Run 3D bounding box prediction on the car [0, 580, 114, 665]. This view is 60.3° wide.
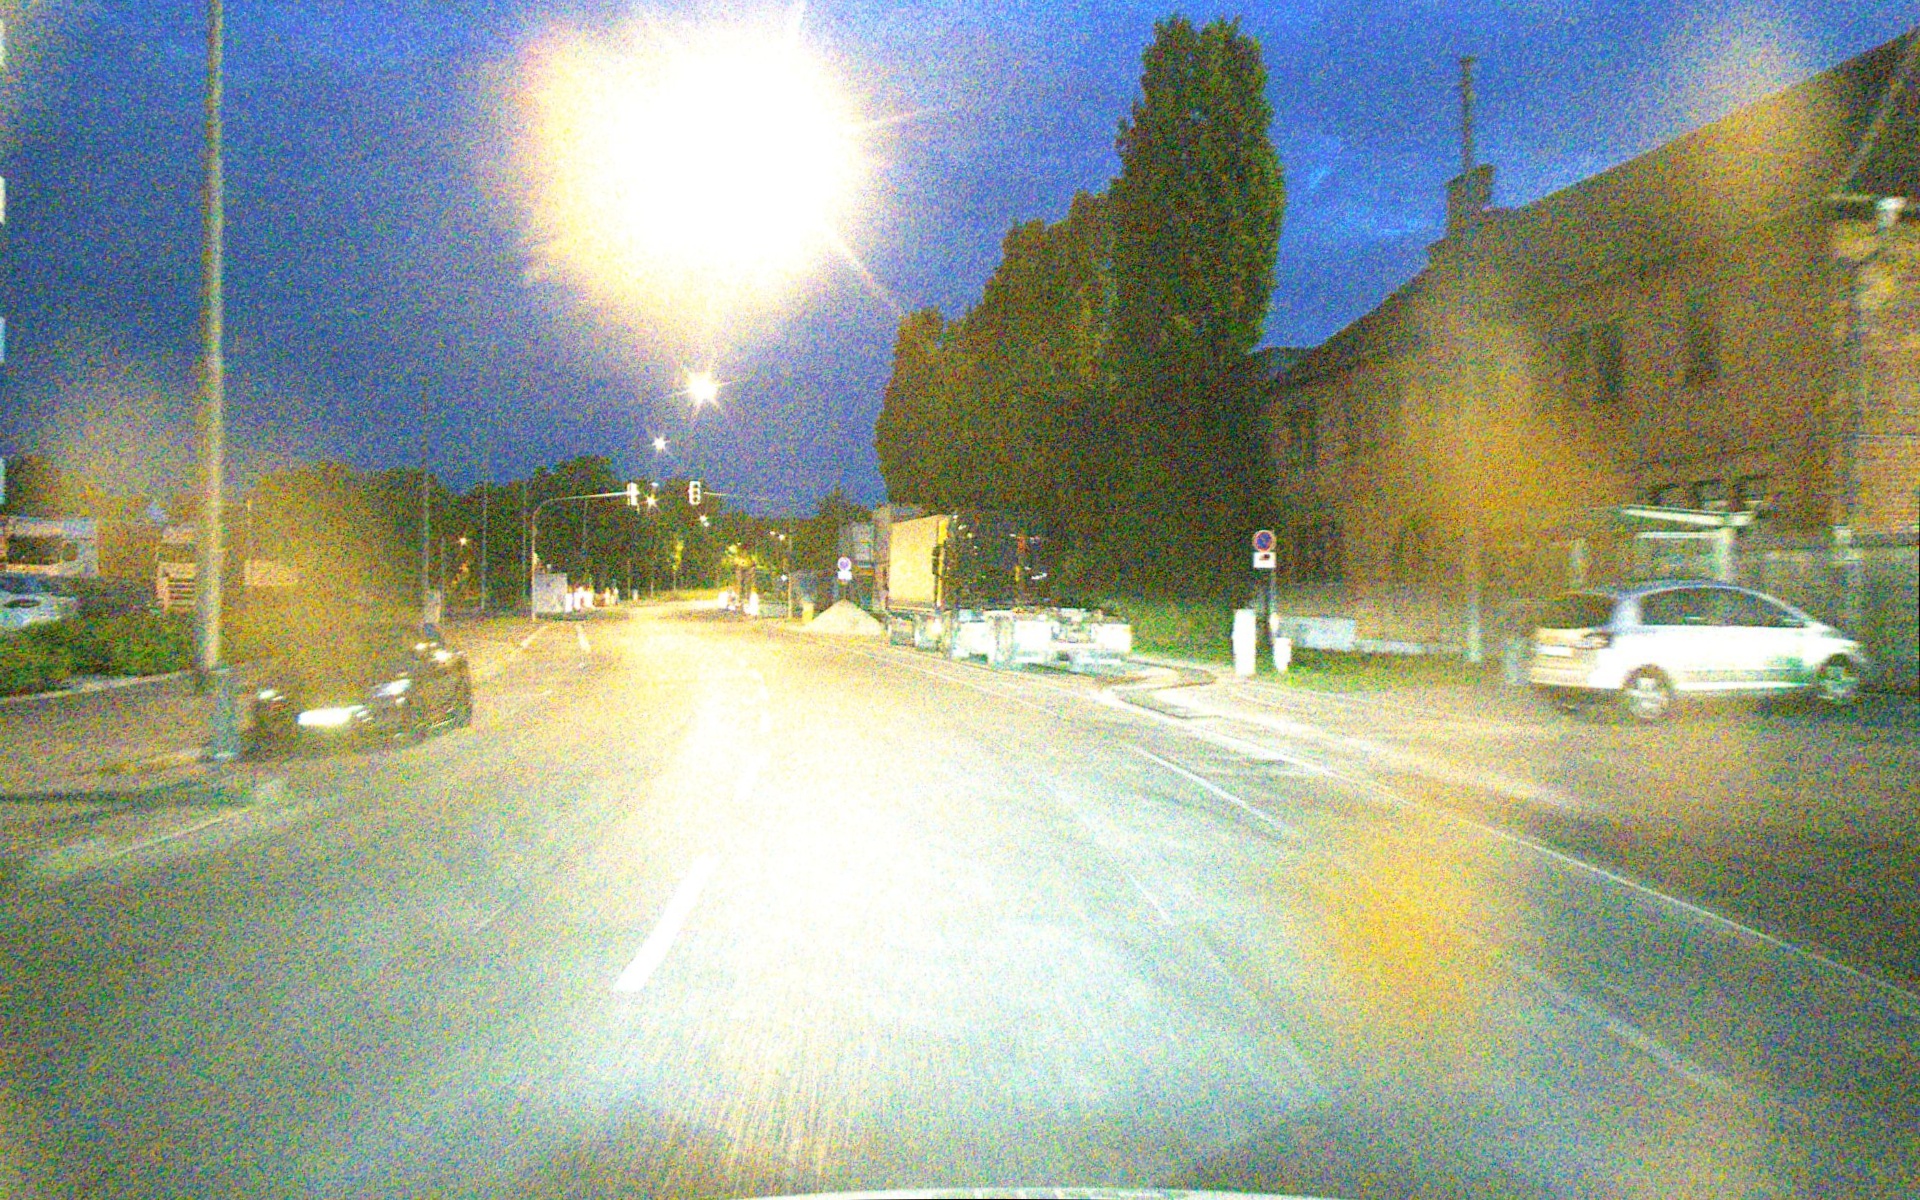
[{"bbox_3d":[-18.983,0.428,32.200,4.054,1.607,1.838,0,0,-8],"label":"car"}]

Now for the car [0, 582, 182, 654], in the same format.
[{"bbox_3d":[-19.099,0.365,34.904,4.361,1.478,2.059,0,0,-5],"label":"car"}]

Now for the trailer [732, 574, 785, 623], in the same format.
[{"bbox_3d":[-12.489,-0.050,102.079,2.570,2.895,4.690,1,-1,-15],"label":"trailer"}]

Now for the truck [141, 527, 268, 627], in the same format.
[{"bbox_3d":[-31.793,-0.938,69.769,2.994,4.001,4.505,1,0,3],"label":"truck"}]

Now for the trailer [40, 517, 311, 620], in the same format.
[{"bbox_3d":[-35.600,-1.317,76.273,2.993,4.221,15.015,1,0,10],"label":"trailer"}]

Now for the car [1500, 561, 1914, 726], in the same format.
[{"bbox_3d":[8.978,0.480,20.002,4.251,1.675,1.886,-3,0,-13],"label":"car"}]

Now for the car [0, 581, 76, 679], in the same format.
[{"bbox_3d":[-18.489,0.507,29.553,4.323,1.710,1.958,0,0,-9],"label":"car"}]

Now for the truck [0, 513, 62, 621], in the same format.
[{"bbox_3d":[-40.805,-1.375,69.013,2.993,4.433,5.571,1,0,9],"label":"truck"}]

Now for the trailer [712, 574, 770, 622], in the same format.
[{"bbox_3d":[-15.469,-0.115,116.538,3.424,3.275,4.845,1,-1,-15],"label":"trailer"}]

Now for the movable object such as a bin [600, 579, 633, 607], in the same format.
[{"bbox_3d":[-31.050,-0.614,149.528,1.952,2.418,4.702,-1,0,0],"label":"movable object such as a bin"}]

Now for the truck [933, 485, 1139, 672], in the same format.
[{"bbox_3d":[1.513,-0.451,38.692,2.706,3.849,9.111,0,0,-11],"label":"truck"}]

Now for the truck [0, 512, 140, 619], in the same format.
[{"bbox_3d":[-37.030,-1.385,68.570,2.993,4.221,4.940,1,0,10],"label":"truck"}]

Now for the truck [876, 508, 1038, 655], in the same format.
[{"bbox_3d":[-0.312,-0.487,48.348,2.707,3.849,10.195,0,0,-12],"label":"truck"}]

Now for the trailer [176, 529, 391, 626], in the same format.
[{"bbox_3d":[-31.269,-0.961,77.623,2.994,4.001,15.010,1,0,4],"label":"trailer"}]

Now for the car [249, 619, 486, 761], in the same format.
[{"bbox_3d":[-6.770,0.956,19.354,1.780,1.395,4.352,0,0,-8],"label":"car"}]

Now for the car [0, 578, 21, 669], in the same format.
[{"bbox_3d":[-18.042,0.379,26.984,4.321,1.504,1.848,0,0,-8],"label":"car"}]

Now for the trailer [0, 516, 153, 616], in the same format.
[{"bbox_3d":[-43.494,-1.527,76.408,2.993,4.433,15.015,1,0,9],"label":"trailer"}]

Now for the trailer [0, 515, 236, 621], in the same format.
[{"bbox_3d":[-39.536,-1.356,76.970,2.993,4.433,15.015,1,0,9],"label":"trailer"}]
